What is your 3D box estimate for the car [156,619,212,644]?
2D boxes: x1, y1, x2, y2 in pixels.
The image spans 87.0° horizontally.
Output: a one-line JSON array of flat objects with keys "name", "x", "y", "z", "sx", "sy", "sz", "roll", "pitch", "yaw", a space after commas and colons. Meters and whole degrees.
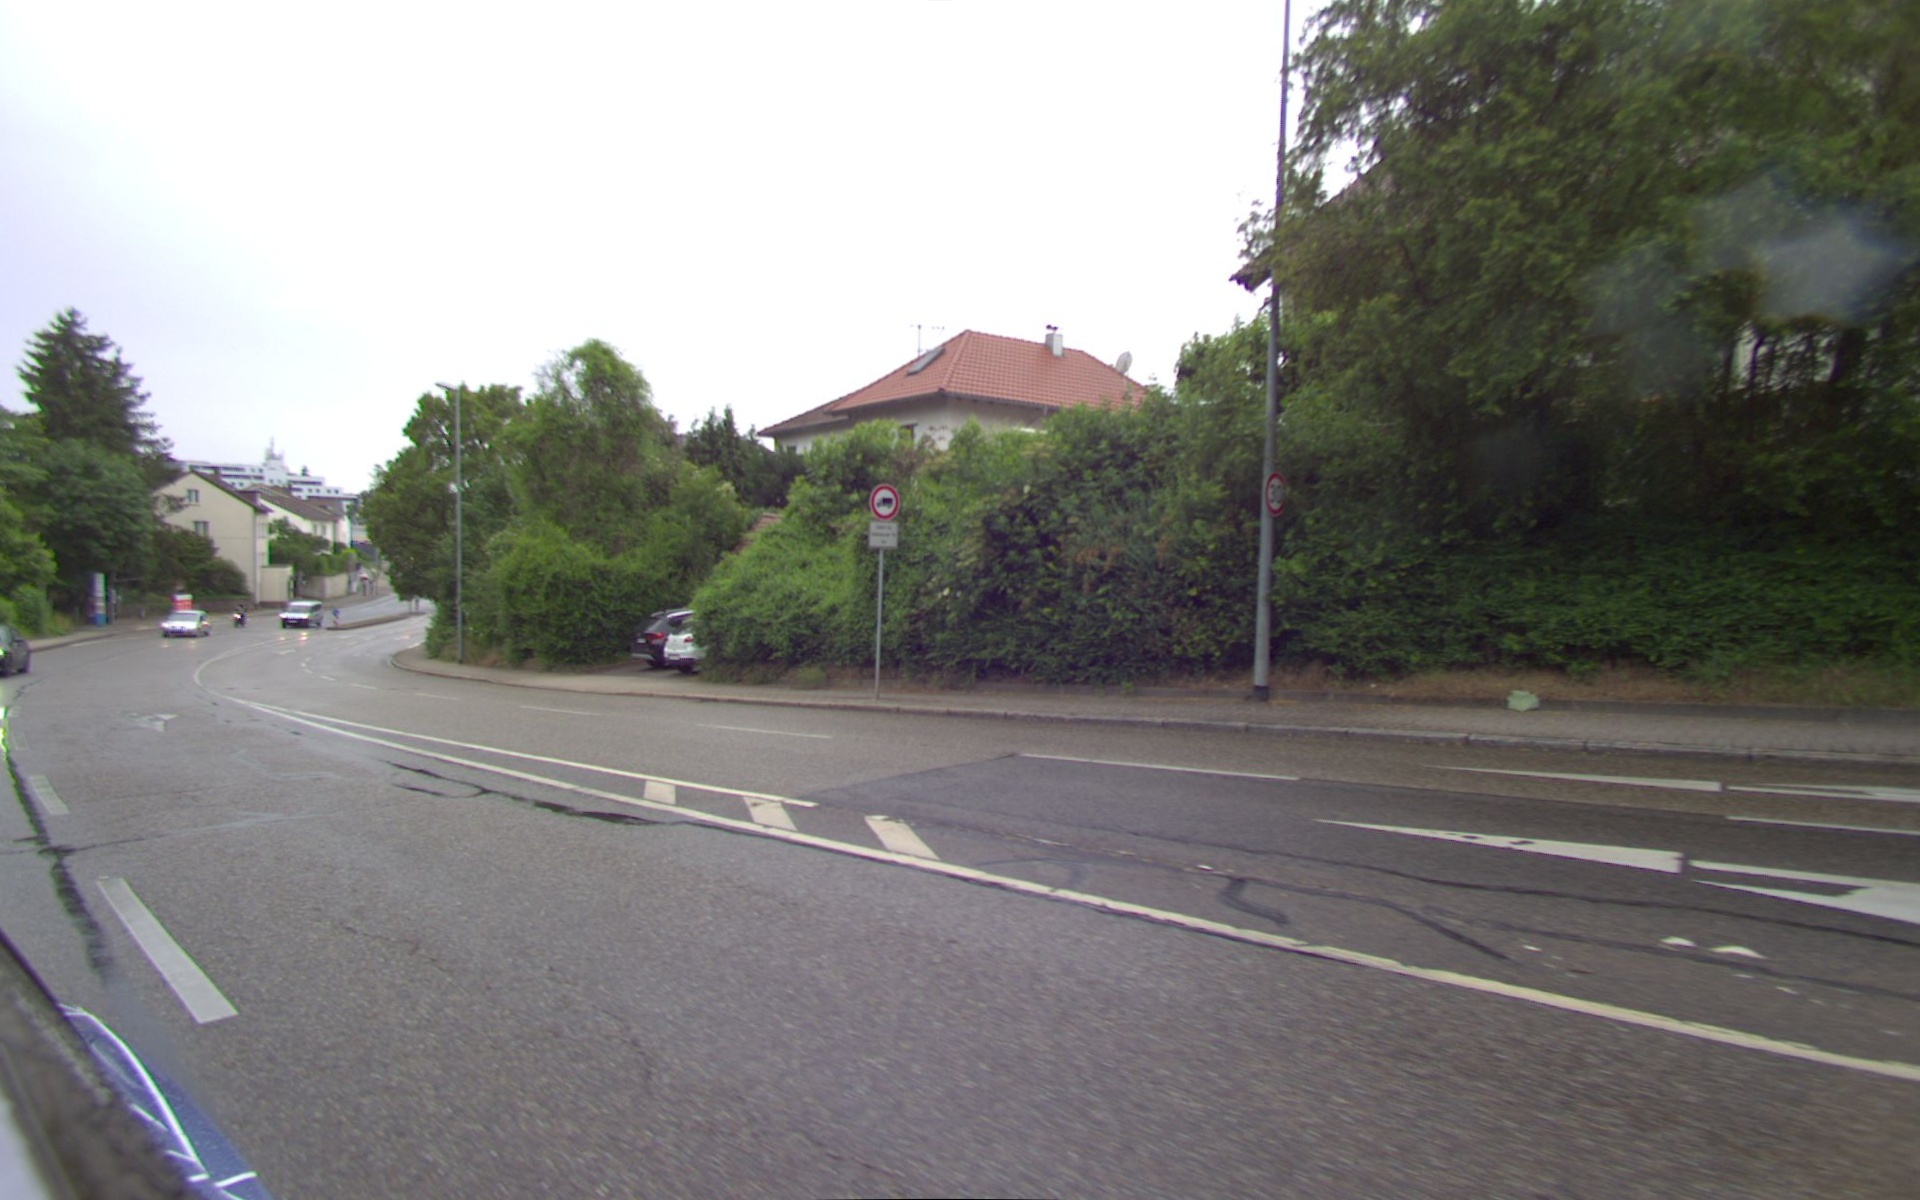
[{"name": "car", "x": -46.661, "y": 1.900, "z": 60.959, "sx": 1.787, "sy": 1.450, "sz": 4.013, "roll": 2, "pitch": -2, "yaw": -25}]

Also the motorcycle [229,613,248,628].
[{"name": "motorcycle", "x": -51.539, "y": 1.475, "z": 72.318, "sx": 0.681, "sy": 1.061, "sz": 1.753, "roll": 2, "pitch": -1, "yaw": -21}]

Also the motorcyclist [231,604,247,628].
[{"name": "motorcyclist", "x": -51.550, "y": 1.146, "z": 72.385, "sx": 0.754, "sy": 1.655, "sz": 0.676, "roll": 1, "pitch": -2, "yaw": -21}]

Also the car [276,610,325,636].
[{"name": "car", "x": -48.700, "y": 1.713, "z": 74.795, "sx": 1.749, "sy": 1.788, "sz": 4.010, "roll": 2, "pitch": -2, "yaw": -14}]

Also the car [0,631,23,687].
[{"name": "car", "x": -28.436, "y": 1.689, "z": 29.246, "sx": 1.845, "sy": 1.517, "sz": 4.203, "roll": 0, "pitch": -1, "yaw": -41}]

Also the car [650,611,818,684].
[{"name": "car", "x": -5.901, "y": 1.187, "z": 26.639, "sx": 3.856, "sy": 1.451, "sz": 1.813, "roll": -6, "pitch": 3, "yaw": -44}]

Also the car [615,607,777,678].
[{"name": "car", "x": -7.528, "y": 1.161, "z": 29.039, "sx": 3.942, "sy": 1.547, "sz": 2.001, "roll": -6, "pitch": 3, "yaw": -44}]
